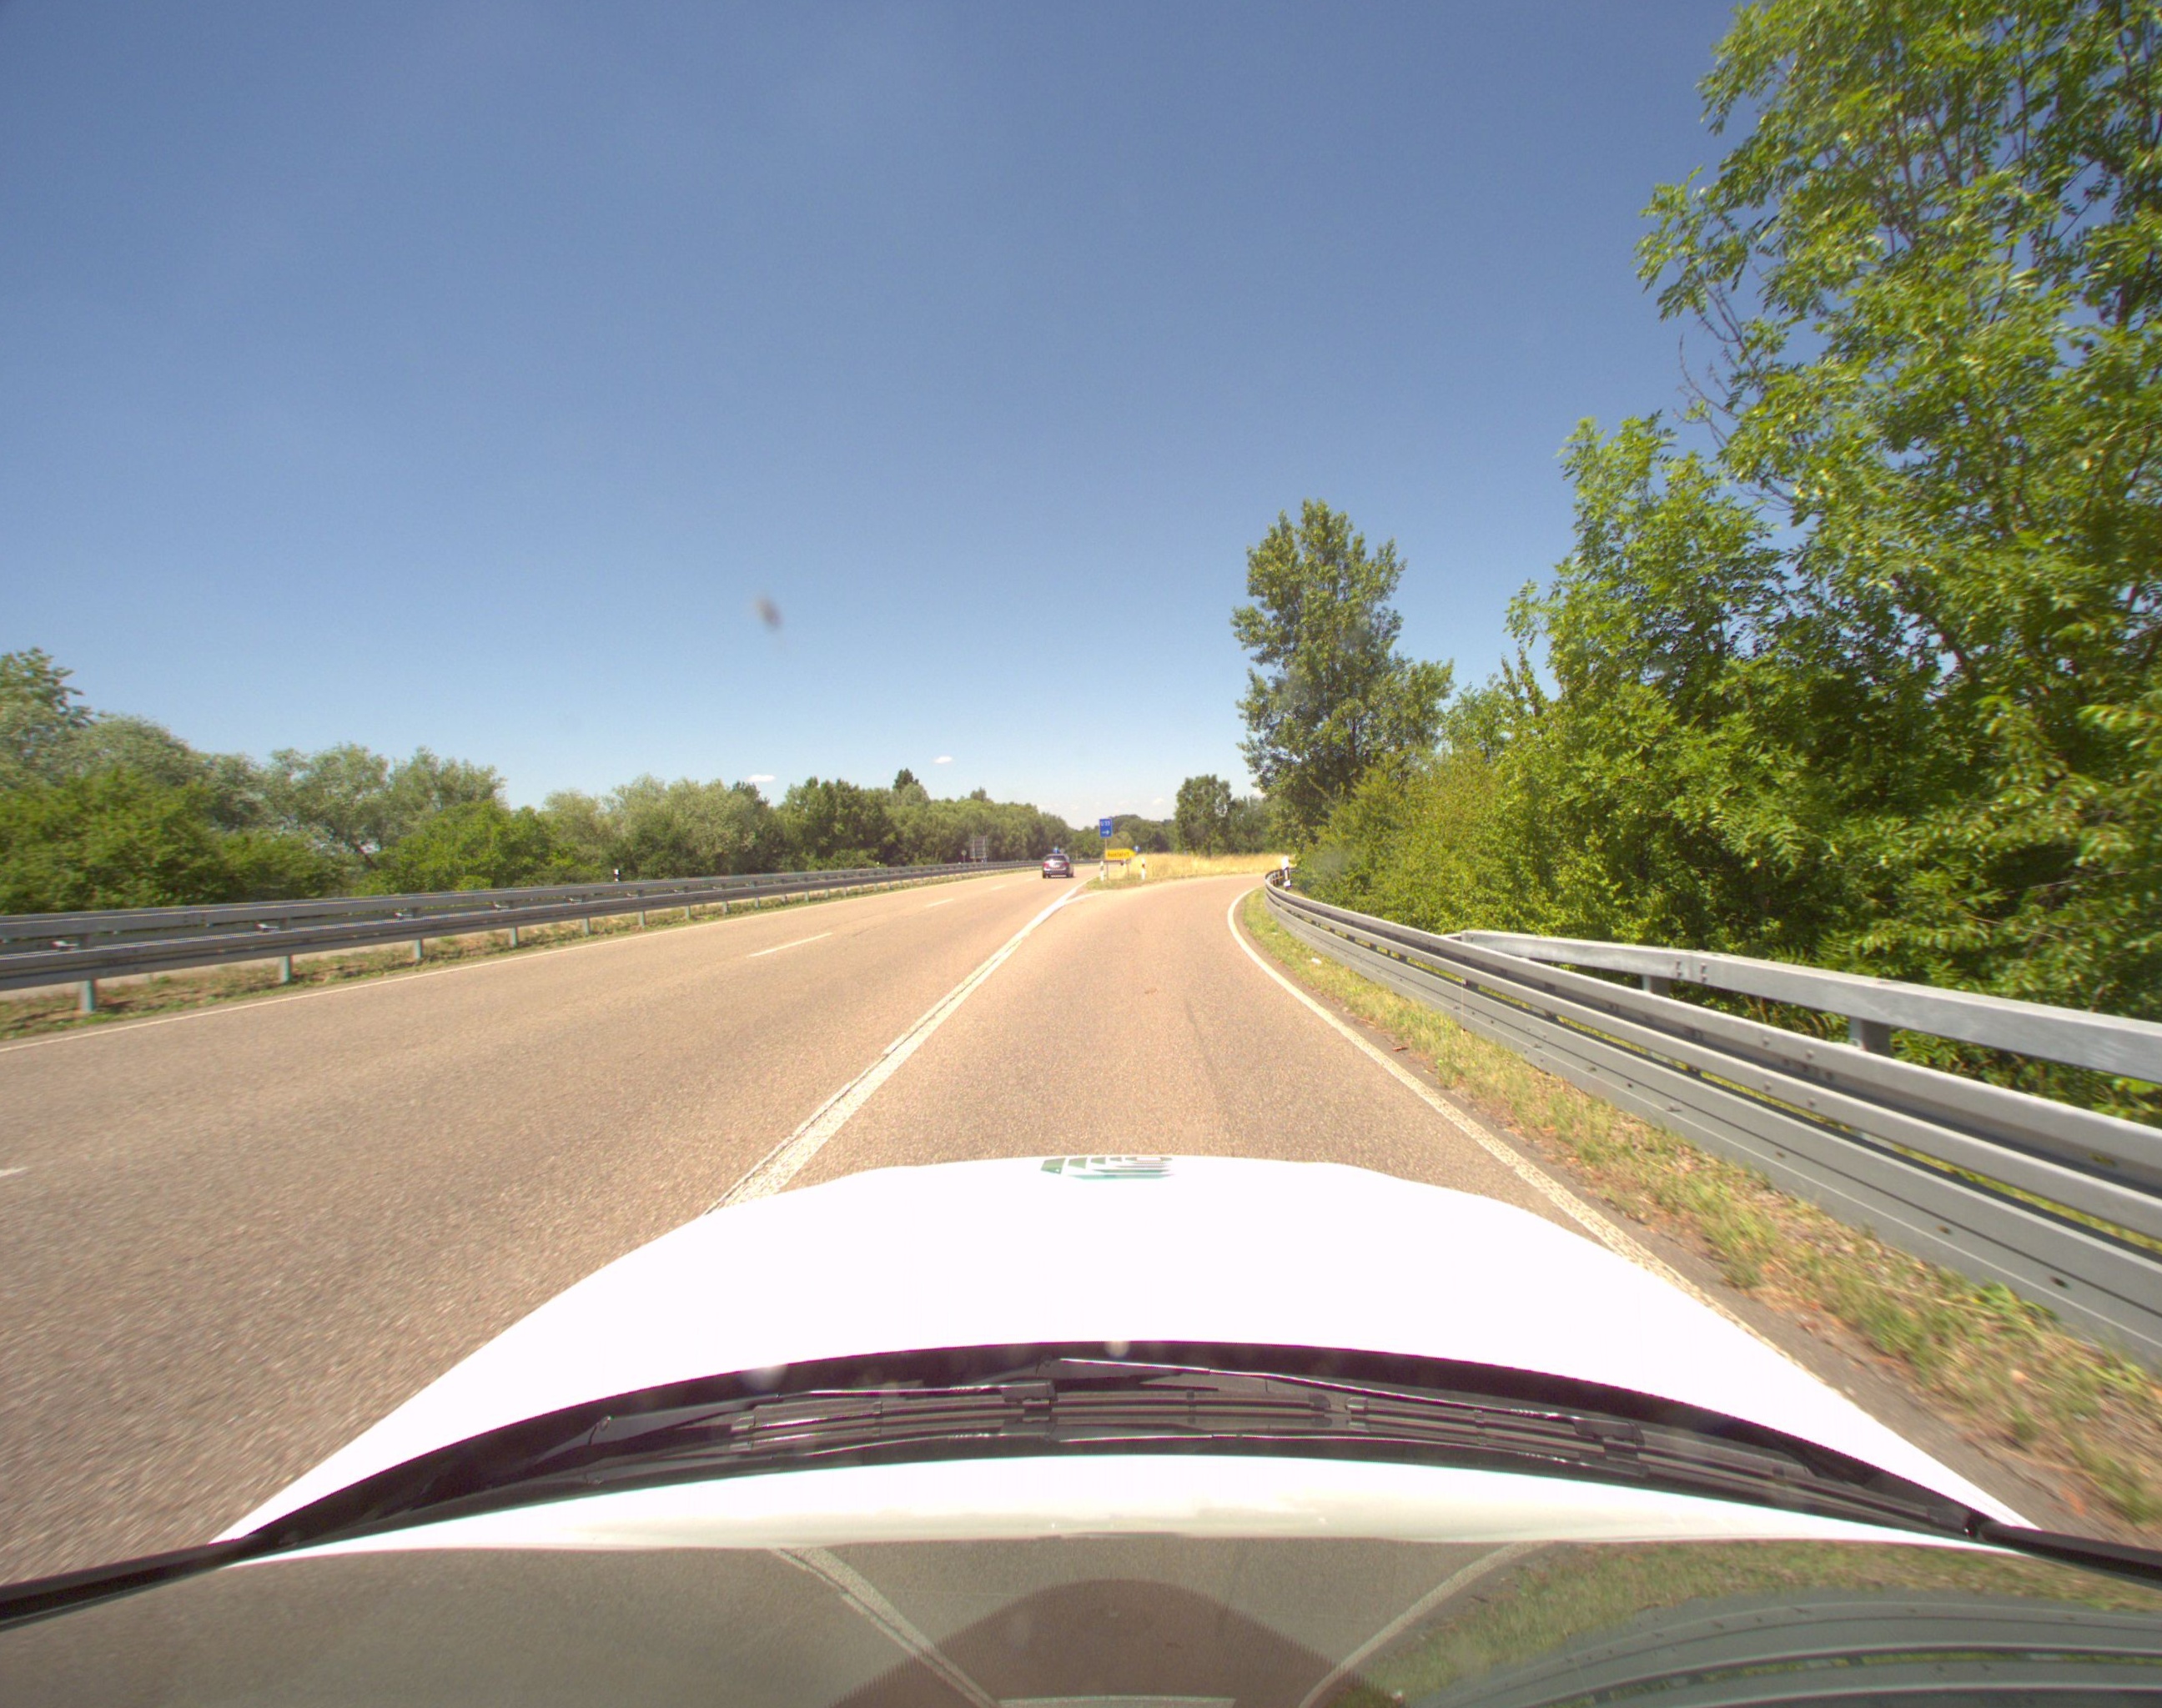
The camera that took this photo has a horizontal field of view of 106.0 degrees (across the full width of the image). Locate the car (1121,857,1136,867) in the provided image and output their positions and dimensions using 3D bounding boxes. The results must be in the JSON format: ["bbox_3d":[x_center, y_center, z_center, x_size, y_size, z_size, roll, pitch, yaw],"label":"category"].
[{"bbox_3d":[7.820,1.345,133.435,1.828,1.529,4.486,0,1,13],"label":"car"}]

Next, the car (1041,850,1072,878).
[{"bbox_3d":[-1.587,0.619,53.952,1.787,1.667,4.555,0,1,1],"label":"car"}]
